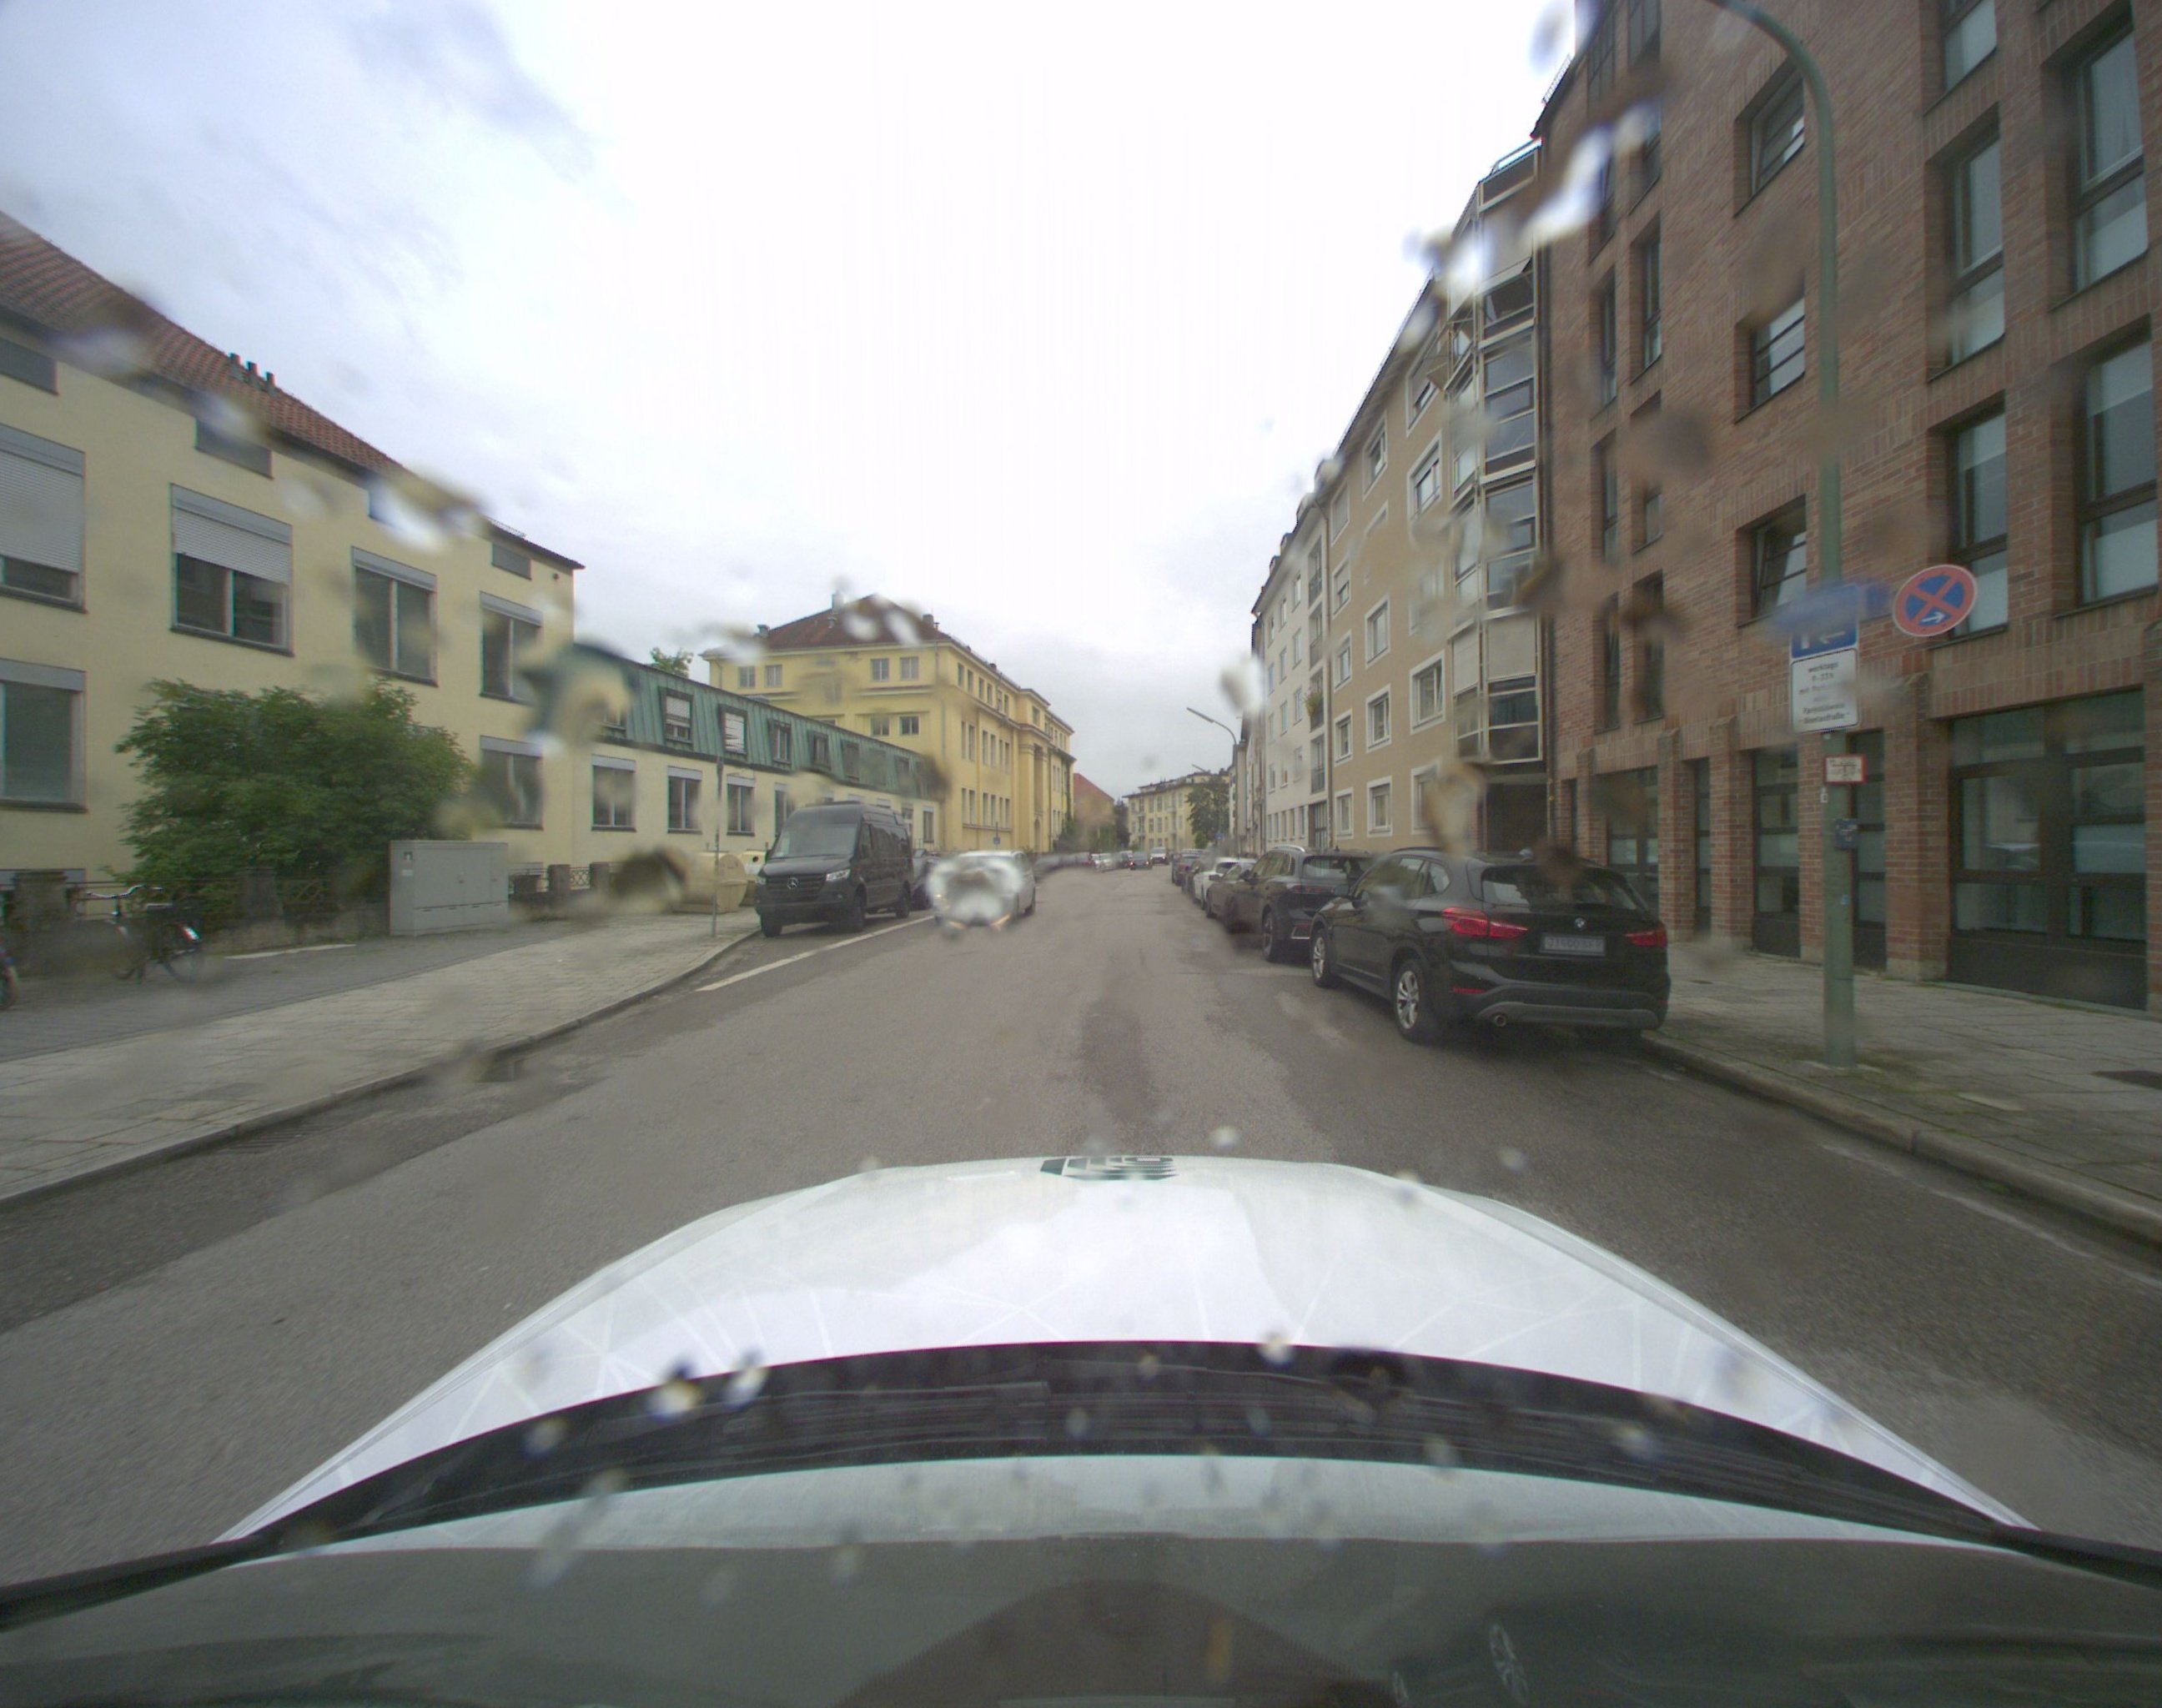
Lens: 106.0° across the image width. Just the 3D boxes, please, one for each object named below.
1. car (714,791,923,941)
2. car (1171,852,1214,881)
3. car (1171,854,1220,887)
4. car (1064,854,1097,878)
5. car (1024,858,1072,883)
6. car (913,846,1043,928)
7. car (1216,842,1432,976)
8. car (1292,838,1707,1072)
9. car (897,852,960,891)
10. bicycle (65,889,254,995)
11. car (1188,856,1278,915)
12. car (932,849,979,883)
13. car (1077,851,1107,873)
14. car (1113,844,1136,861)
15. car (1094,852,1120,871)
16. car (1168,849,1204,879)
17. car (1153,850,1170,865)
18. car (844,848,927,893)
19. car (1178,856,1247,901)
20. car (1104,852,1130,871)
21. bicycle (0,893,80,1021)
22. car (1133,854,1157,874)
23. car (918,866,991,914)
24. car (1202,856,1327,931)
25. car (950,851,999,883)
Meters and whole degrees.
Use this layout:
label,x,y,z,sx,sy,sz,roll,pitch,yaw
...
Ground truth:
label,x,y,z,sx,sy,sz,roll,pitch,yaw
car,-5.468,0.255,18.125,2.412,2.715,5.957,-2,-1,3
car,5.860,0.617,43.211,1.879,1.410,4.435,1,0,4
car,5.265,0.705,37.898,1.879,1.410,4.435,1,0,4
car,-0.001,0.762,54.180,1.688,1.444,3.516,1,1,7
car,-1.733,0.886,44.601,1.889,1.147,4.240,1,1,8
car,-2.240,0.729,18.999,2.016,1.621,4.511,-2,-1,5
car,3.421,0.659,12.525,1.958,1.601,4.672,1,1,0
car,3.495,0.674,7.859,1.824,1.601,4.267,1,1,0
car,-7.290,0.790,39.251,1.709,1.660,3.759,1,1,10
bicycle,-10.960,1.013,9.697,1.891,1.092,0.680,1,1,14
car,4.258,0.817,23.546,1.880,1.475,4.746,1,0,2
car,-6.586,0.614,42.911,1.595,1.660,2.817,1,1,10
car,0.829,0.568,60.002,1.688,1.444,3.517,1,1,8
car,4.447,-0.196,82.262,1.983,1.548,4.008,1,1,7
car,2.158,0.564,67.096,1.688,1.444,3.517,1,1,8
car,6.219,0.564,48.614,1.879,1.630,4.435,1,0,4
car,8.401,0.367,84.858,1.688,1.444,3.516,1,1,7
car,-8.220,0.655,34.667,1.981,1.686,4.012,1,1,10
car,4.614,0.808,29.104,1.880,1.410,4.433,1,0,2
car,3.221,0.677,72.816,1.983,1.548,4.008,1,1,7
bicycle,-11.020,0.979,8.084,1.943,1.131,0.575,1,1,14
car,5.228,0.783,66.180,1.688,1.444,3.516,1,1,7
car,-4.495,1.235,29.500,1.690,1.453,3.748,1,1,6
car,3.898,0.775,18.013,1.880,1.322,4.276,1,1,1
car,-6.004,0.709,46.403,1.709,1.660,3.759,1,1,10
